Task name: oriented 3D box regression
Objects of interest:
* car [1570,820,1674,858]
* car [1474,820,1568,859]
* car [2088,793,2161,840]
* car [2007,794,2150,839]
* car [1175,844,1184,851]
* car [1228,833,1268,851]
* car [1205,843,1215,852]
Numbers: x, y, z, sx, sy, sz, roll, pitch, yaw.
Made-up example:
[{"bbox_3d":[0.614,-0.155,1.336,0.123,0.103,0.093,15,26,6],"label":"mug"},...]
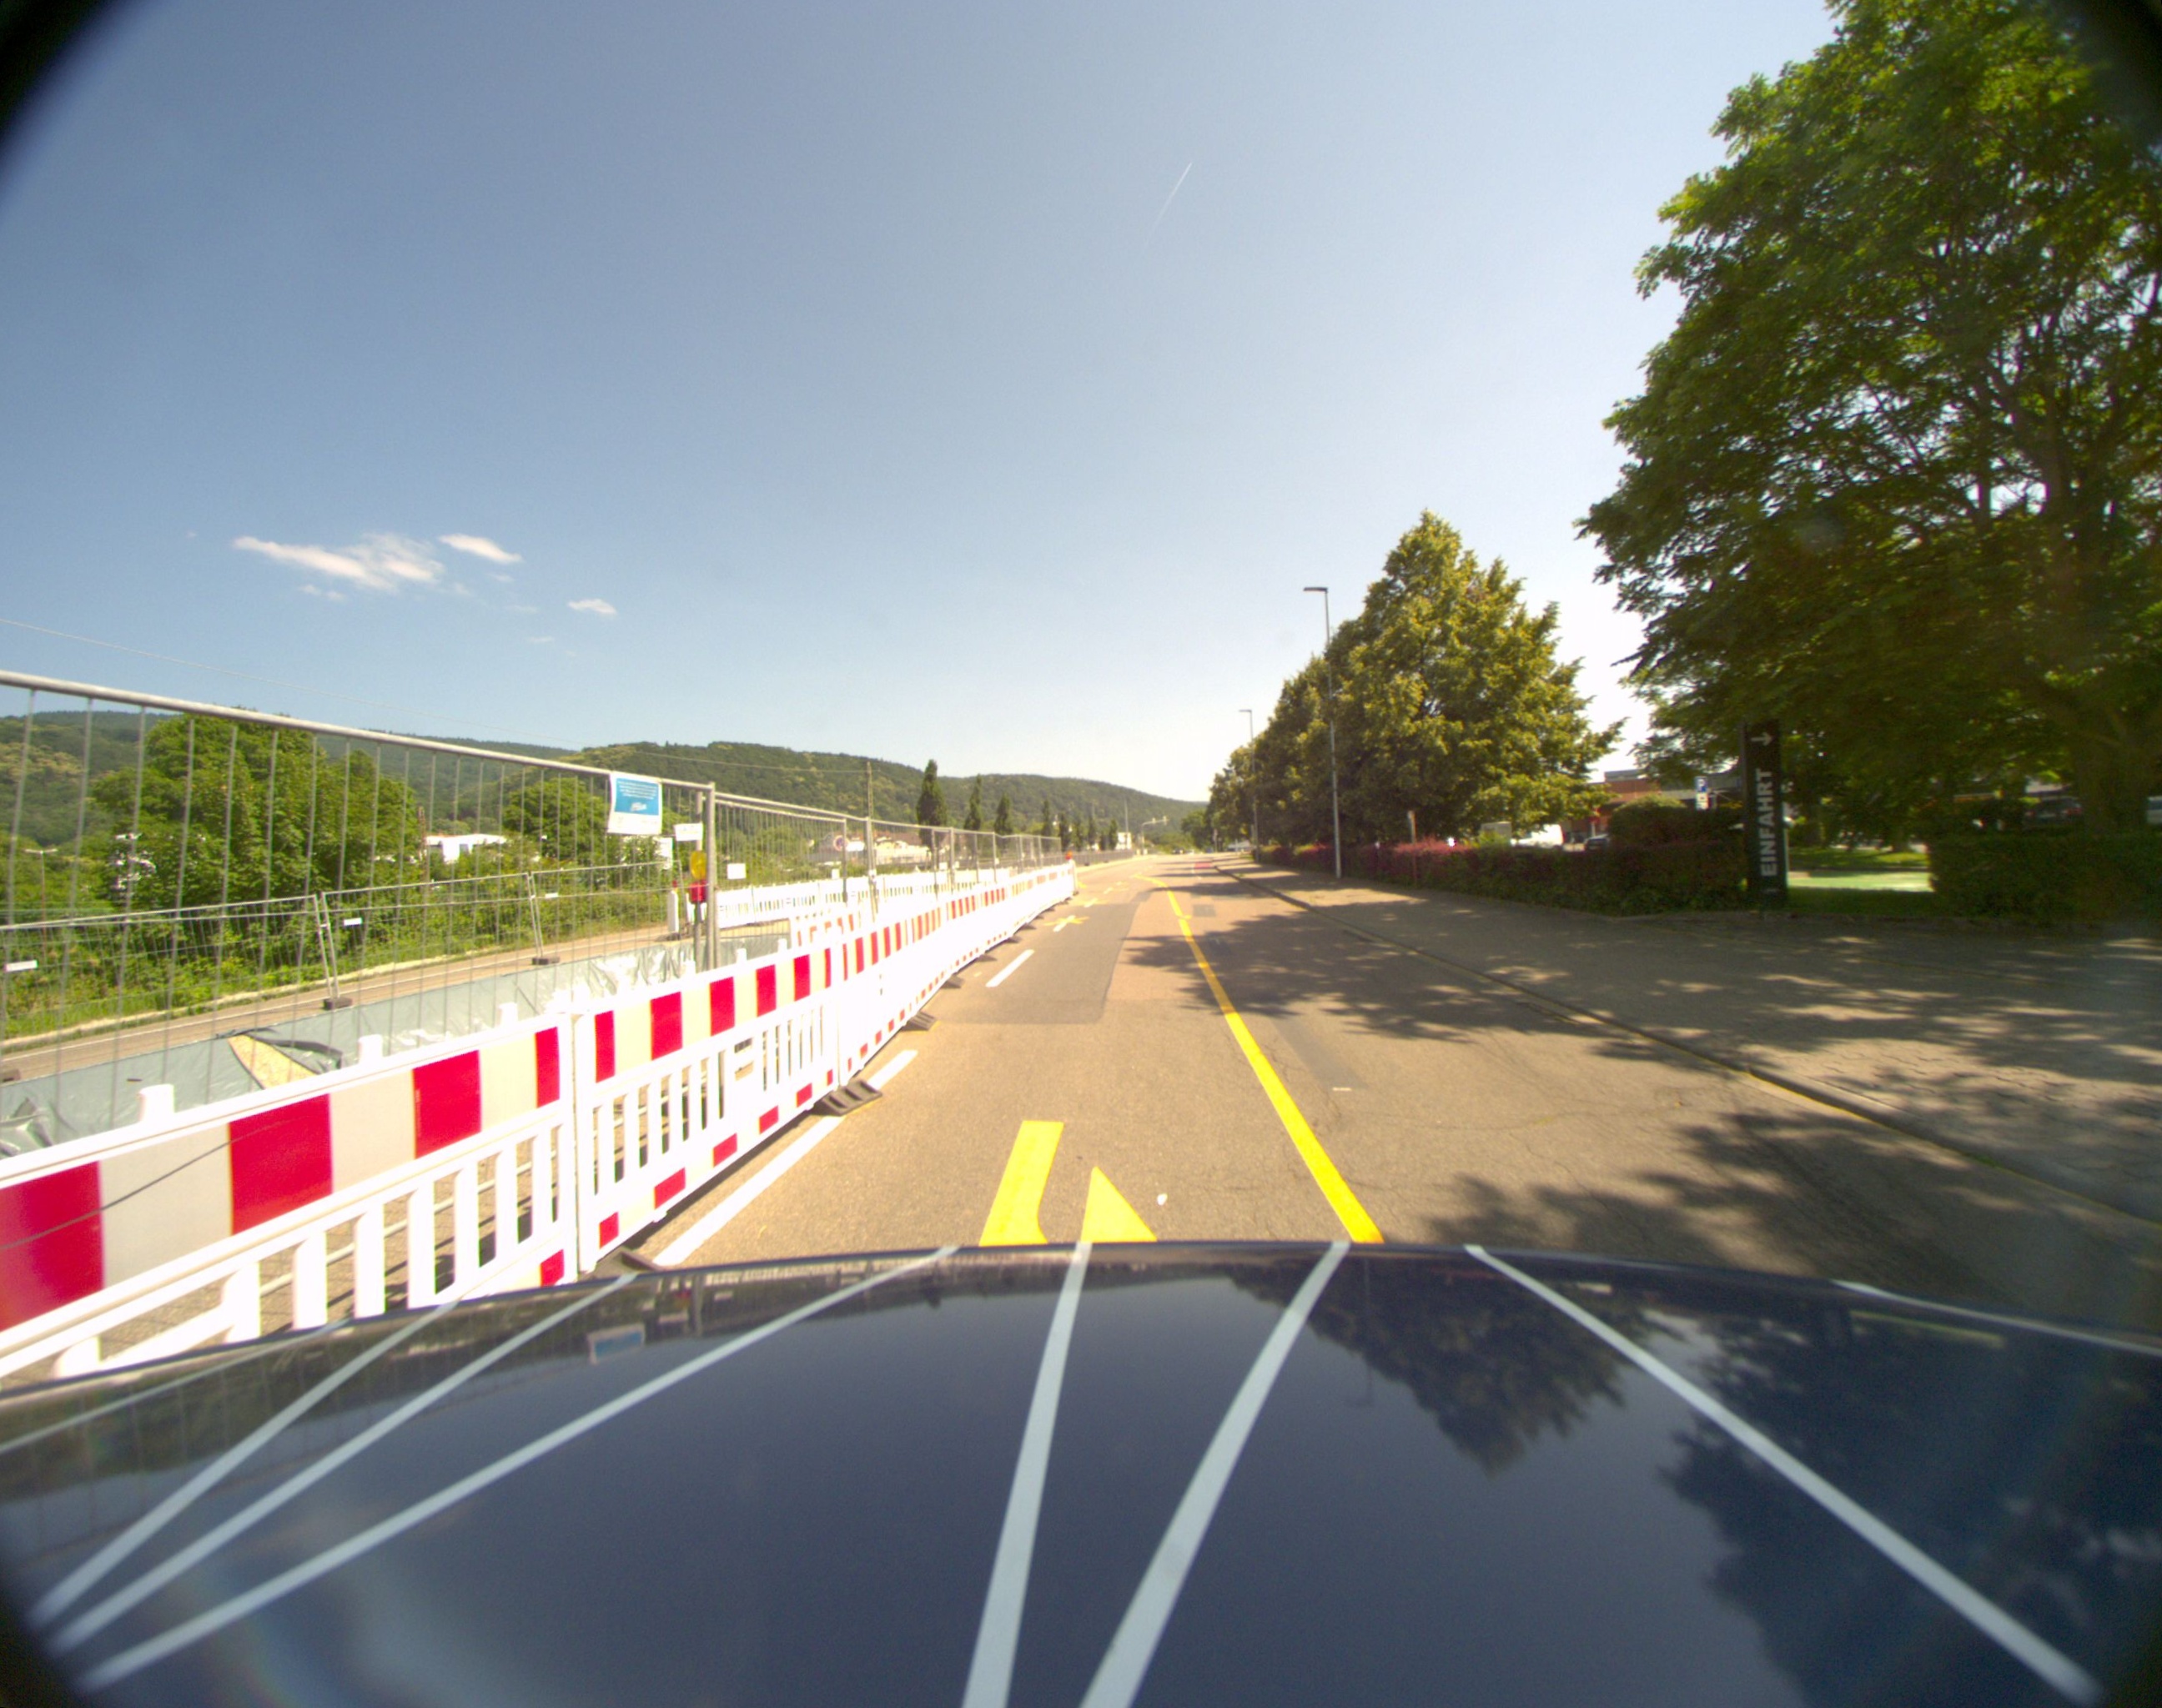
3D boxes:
[{"bbox_3d":[26.208,-0.720,36.863,3.811,1.574,1.904,-4,1,-10],"label":"car"},{"bbox_3d":[23.981,-0.783,41.452,4.354,1.816,1.747,-3,0,-12],"label":"car"},{"bbox_3d":[37.012,-1.338,25.684,4.047,1.442,1.793,-4,1,-8],"label":"car"},{"bbox_3d":[41.360,-1.525,31.560,3.868,1.567,1.818,-4,1,-6],"label":"car"},{"bbox_3d":[18.461,-1.190,142.638,1.609,1.248,3.684,-3,1,7],"label":"car"},{"bbox_3d":[26.615,-1.884,121.421,5.612,2.332,2.316,-4,2,35],"label":"car"},{"bbox_3d":[25.261,-1.252,148.863,1.609,1.527,3.684,-3,1,7],"label":"car"}]
